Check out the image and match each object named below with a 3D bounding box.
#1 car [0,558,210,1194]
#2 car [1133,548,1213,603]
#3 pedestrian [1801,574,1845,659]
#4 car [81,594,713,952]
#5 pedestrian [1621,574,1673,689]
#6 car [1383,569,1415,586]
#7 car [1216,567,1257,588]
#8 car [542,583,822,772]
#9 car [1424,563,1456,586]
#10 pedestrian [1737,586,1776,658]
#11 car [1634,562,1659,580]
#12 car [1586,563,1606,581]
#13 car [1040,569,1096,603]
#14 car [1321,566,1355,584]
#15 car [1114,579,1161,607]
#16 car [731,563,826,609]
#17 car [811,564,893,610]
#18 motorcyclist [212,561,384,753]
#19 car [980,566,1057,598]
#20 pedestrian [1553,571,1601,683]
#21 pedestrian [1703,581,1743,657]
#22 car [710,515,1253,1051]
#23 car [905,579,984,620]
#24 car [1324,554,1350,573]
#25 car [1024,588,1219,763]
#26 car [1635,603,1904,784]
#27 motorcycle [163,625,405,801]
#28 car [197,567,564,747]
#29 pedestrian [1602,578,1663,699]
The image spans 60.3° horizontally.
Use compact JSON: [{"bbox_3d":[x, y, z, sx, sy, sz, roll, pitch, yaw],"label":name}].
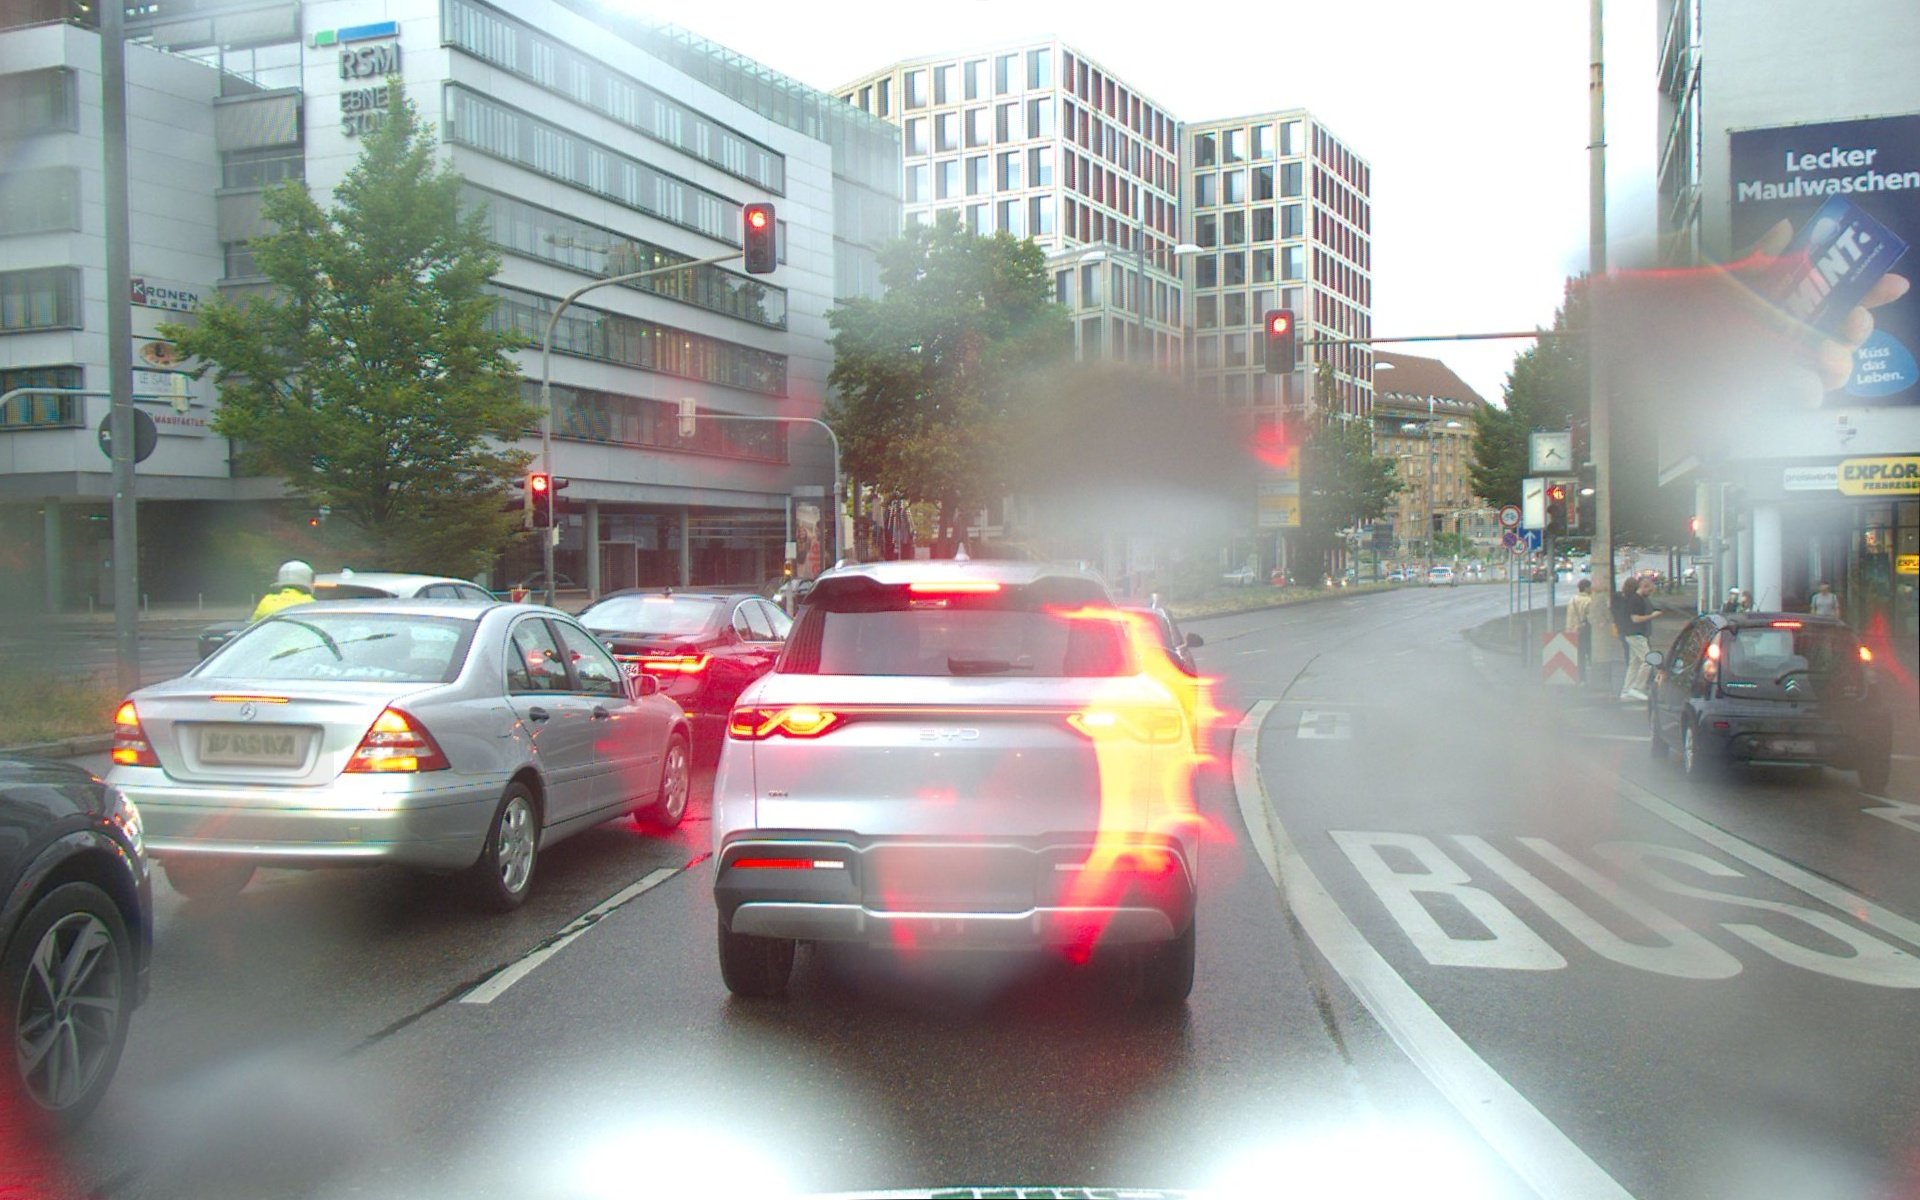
[{"bbox_3d":[-3.127,0.669,2.975,1.614,1.548,4.271,1,1,0],"label":"car"},{"bbox_3d":[8.444,-0.945,65.267,1.953,2.049,4.848,1,0,22],"label":"car"},{"bbox_3d":[18.753,0.358,35.946,0.659,1.825,0.768,1,0,43],"label":"pedestrian"},{"bbox_3d":[-2.639,0.714,8.851,1.537,1.432,4.112,1,0,7],"label":"car"},{"bbox_3d":[11.158,0.491,26.882,0.733,1.829,0.817,0,1,20],"label":"pedestrian"},{"bbox_3d":[39.086,-1.994,147.123,1.955,1.514,3.996,0,1,27],"label":"car"},{"bbox_3d":[20.555,-1.656,122.976,1.955,1.514,3.996,0,1,27],"label":"car"},{"bbox_3d":[-2.439,0.635,15.480,1.537,1.512,4.003,1,0,6],"label":"car"},{"bbox_3d":[35.115,-1.853,120.906,1.849,1.671,4.000,1,1,22],"label":"car"},{"bbox_3d":[17.657,0.471,36.651,0.615,1.570,0.649,1,0,43],"label":"pedestrian"},{"bbox_3d":[62.770,-2.674,151.196,1.662,1.512,3.993,1,0,29],"label":"car"},{"bbox_3d":[76.867,-3.360,199.822,1.954,2.049,3.996,1,0,26],"label":"car"},{"bbox_3d":[5.291,-0.666,80.616,1.610,1.608,4.086,1,0,21],"label":"car"},{"bbox_3d":[32.092,-2.108,140.292,1.955,1.514,3.996,0,1,27],"label":"car"},{"bbox_3d":[10.820,-0.430,100.314,1.598,1.586,4.592,0,1,23],"label":"car"},{"bbox_3d":[-6.727,-0.532,61.722,1.952,1.639,4.001,1,1,20],"label":"car"},{"bbox_3d":[-3.811,-0.457,59.018,1.609,1.563,4.155,1,0,15],"label":"car"},{"bbox_3d":[-5.094,0.419,12.794,0.753,1.404,1.119,1,0,8],"label":"motorcyclist"},{"bbox_3d":[3.016,-0.940,83.764,1.779,1.536,5.188,0,1,29],"label":"car"},{"bbox_3d":[10.256,0.435,27.500,0.733,1.829,0.817,0,1,20],"label":"pedestrian"},{"bbox_3d":[17.194,0.411,37.269,0.659,1.684,0.649,1,0,43],"label":"pedestrian"},{"bbox_3d":[0.113,0.600,7.364,1.739,1.708,4.000,1,0,1],"label":"car"},{"bbox_3d":[-0.524,0.002,59.487,1.655,1.409,3.870,1,0,18],"label":"car"},{"bbox_3d":[37.402,-3.647,163.983,1.577,1.771,3.437,1,0,31],"label":"car"},{"bbox_3d":[1.737,0.676,16.646,1.657,1.512,4.003,1,0,10],"label":"car"},{"bbox_3d":[7.481,0.782,15.644,1.537,1.454,4.003,1,0,15],"label":"car"},{"bbox_3d":[-5.130,0.812,12.723,0.783,1.205,2.030,1,0,8],"label":"motorcycle"},{"bbox_3d":[-5.461,0.491,16.177,1.670,1.512,4.003,1,0,9],"label":"car"},{"bbox_3d":[9.959,0.551,24.507,0.753,1.762,0.597,0,0,13],"label":"pedestrian"}]
